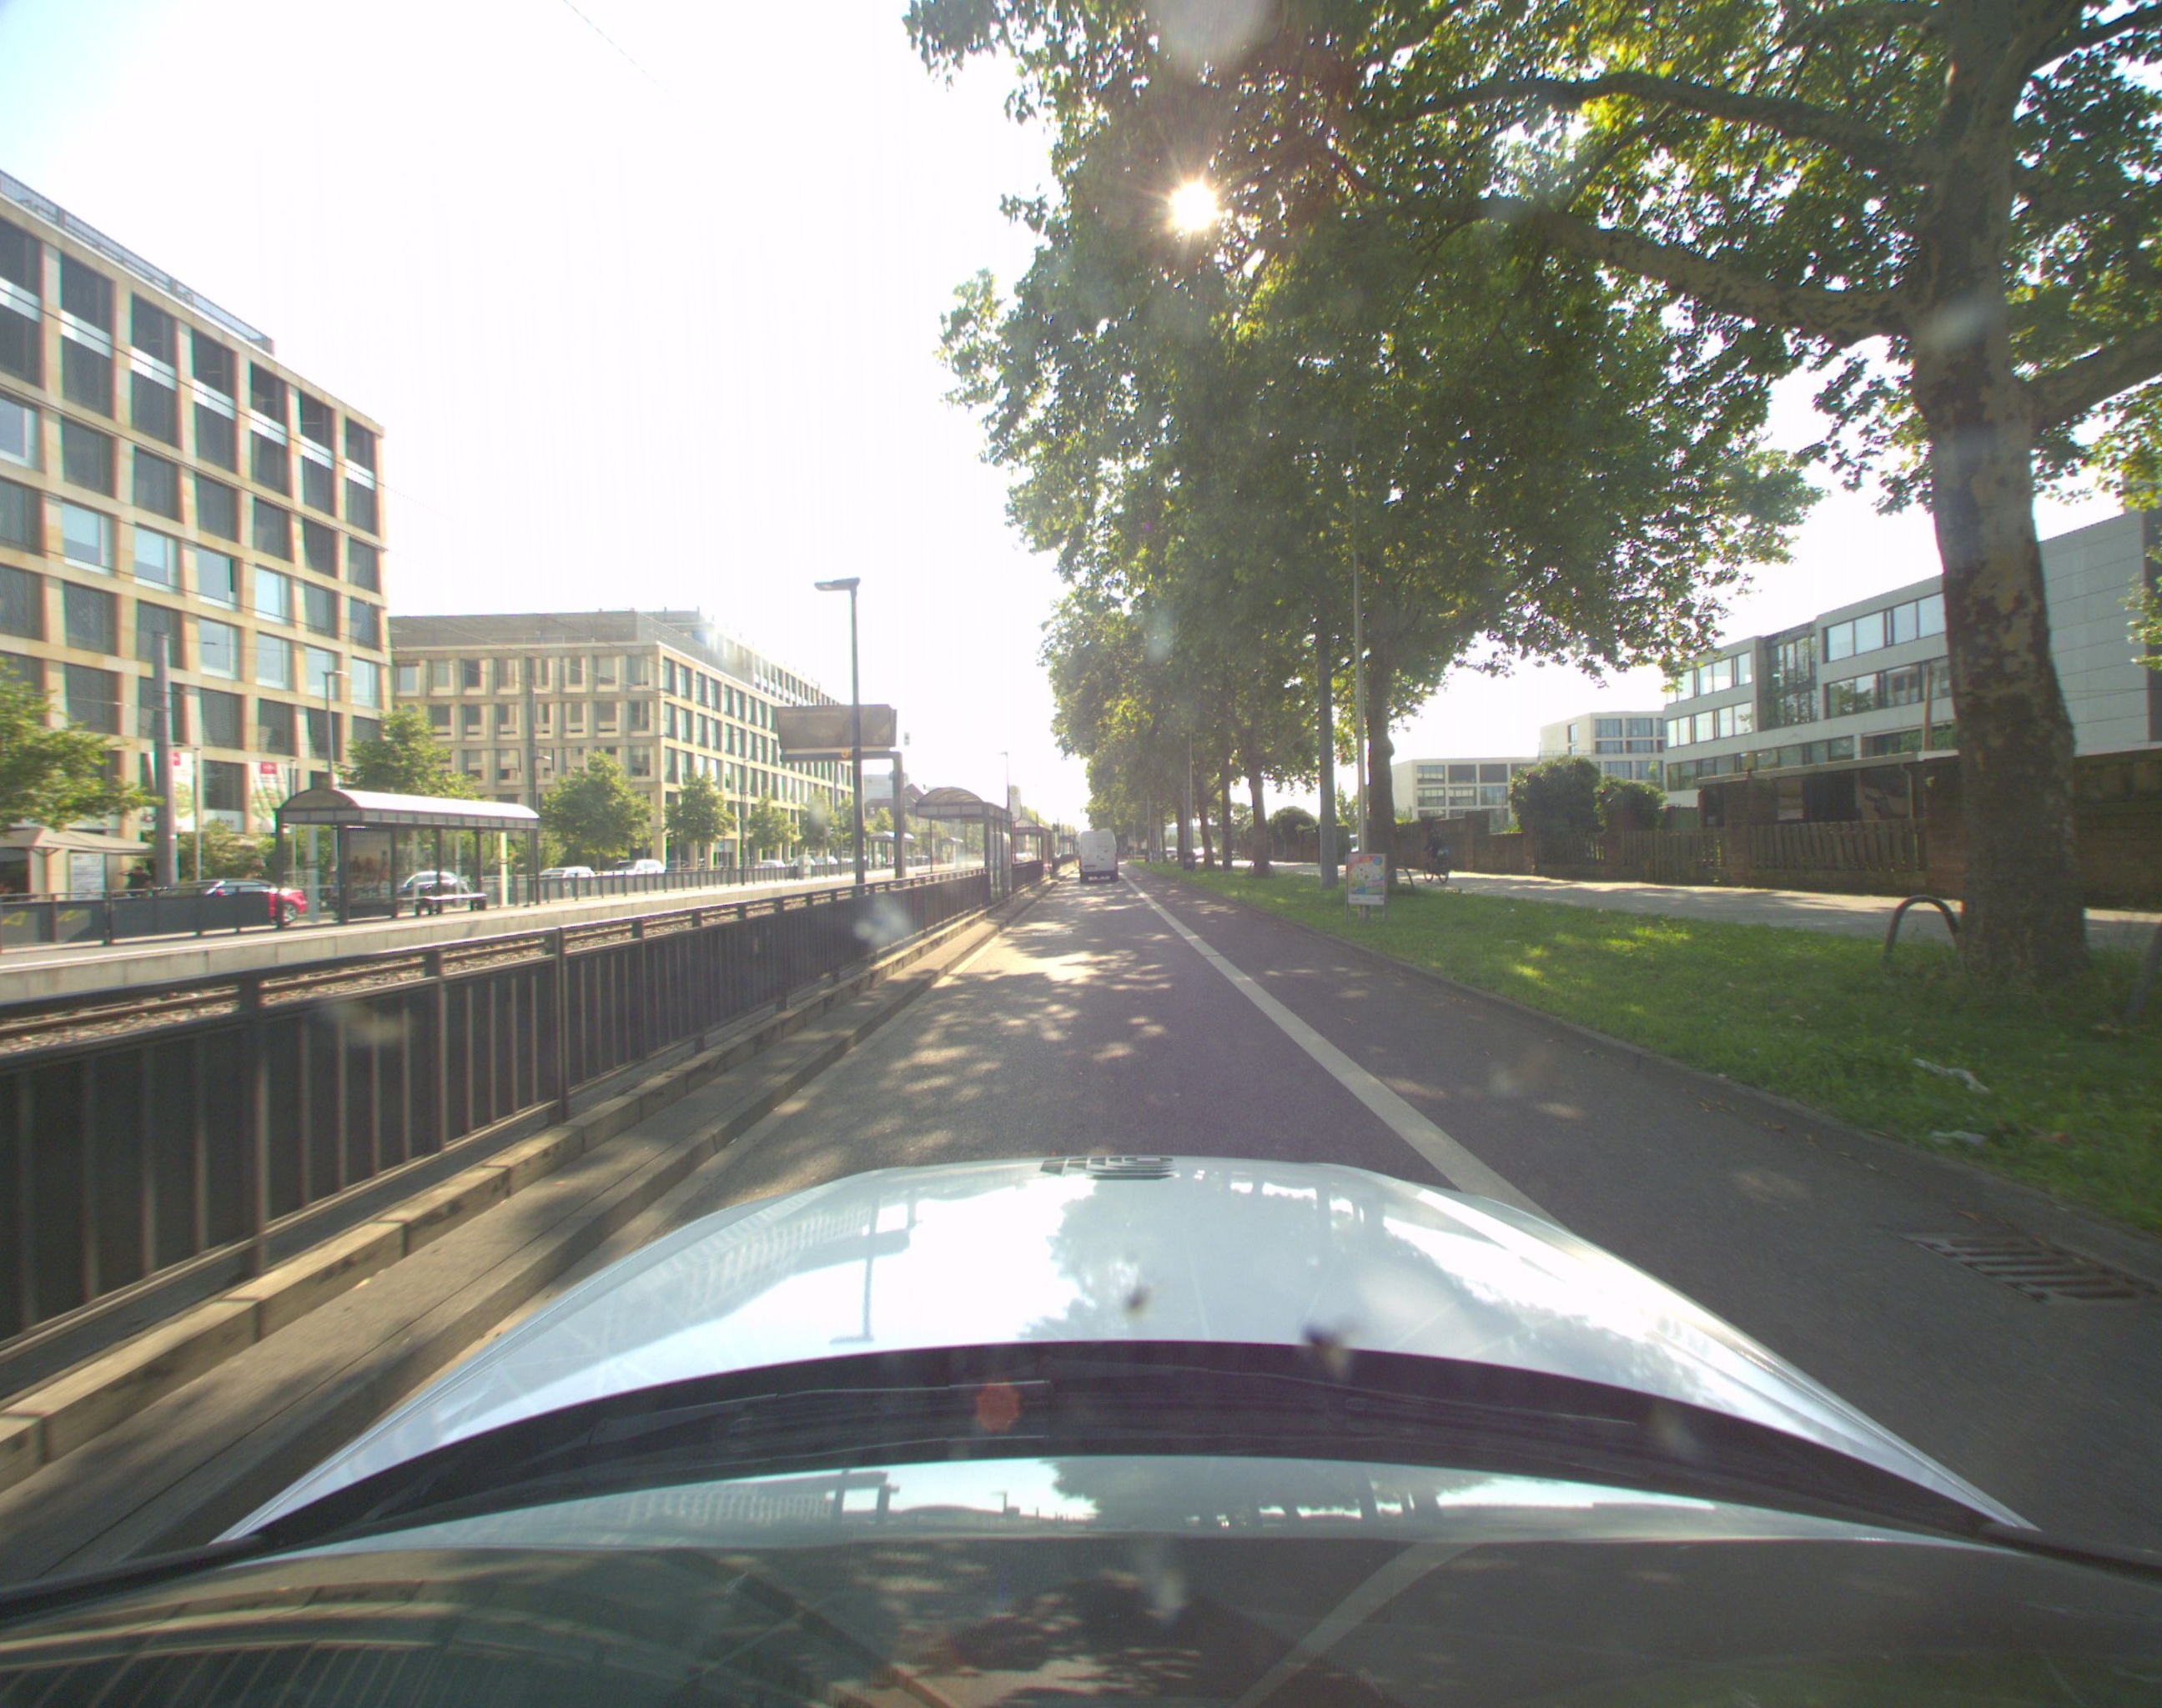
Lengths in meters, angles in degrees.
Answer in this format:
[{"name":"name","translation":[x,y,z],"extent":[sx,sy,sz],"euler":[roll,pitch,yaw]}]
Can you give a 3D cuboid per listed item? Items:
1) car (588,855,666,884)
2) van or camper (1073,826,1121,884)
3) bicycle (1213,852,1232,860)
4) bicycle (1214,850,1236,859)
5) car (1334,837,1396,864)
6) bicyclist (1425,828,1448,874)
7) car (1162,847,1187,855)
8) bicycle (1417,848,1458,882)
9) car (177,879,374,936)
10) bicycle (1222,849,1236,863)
[{"name":"car","translation":[-24.326,0.794,43.815],"extent":[1.678,1.407,4.370],"euler":[-2,0,0]},{"name":"van or camper","translation":[0.766,0.044,42.240],"extent":[2.110,2.682,5.246],"euler":[-3,0,-2]},{"name":"bicycle","translation":[15.278,0.225,87.785],"extent":[1.925,0.847,0.372],"euler":[-2,0,1]},{"name":"bicycle","translation":[15.052,0.018,84.974],"extent":[2.172,0.847,0.503],"euler":[-2,0,1]},{"name":"car","translation":[20.853,-0.249,59.911],"extent":[3.991,1.842,1.560],"euler":[-2,0,-2]},{"name":"bicyclist","translation":[11.922,-0.102,27.321],"extent":[0.468,1.539,0.596],"euler":[-2,0,-2]},{"name":"car","translation":[15.856,-0.530,138.026],"extent":[3.973,1.376,2.000],"euler":[0,-1,0]},{"name":"bicycle","translation":[11.941,0.355,27.300],"extent":[0.490,1.089,1.856],"euler":[-2,0,-2]},{"name":"car","translation":[-24.586,1.578,25.120],"extent":[1.678,1.407,4.373],"euler":[-2,0,0]},{"name":"bicycle","translation":[11.538,0.163,63.462],"extent":[0.679,1.005,2.218],"euler":[-2,0,0]}]
